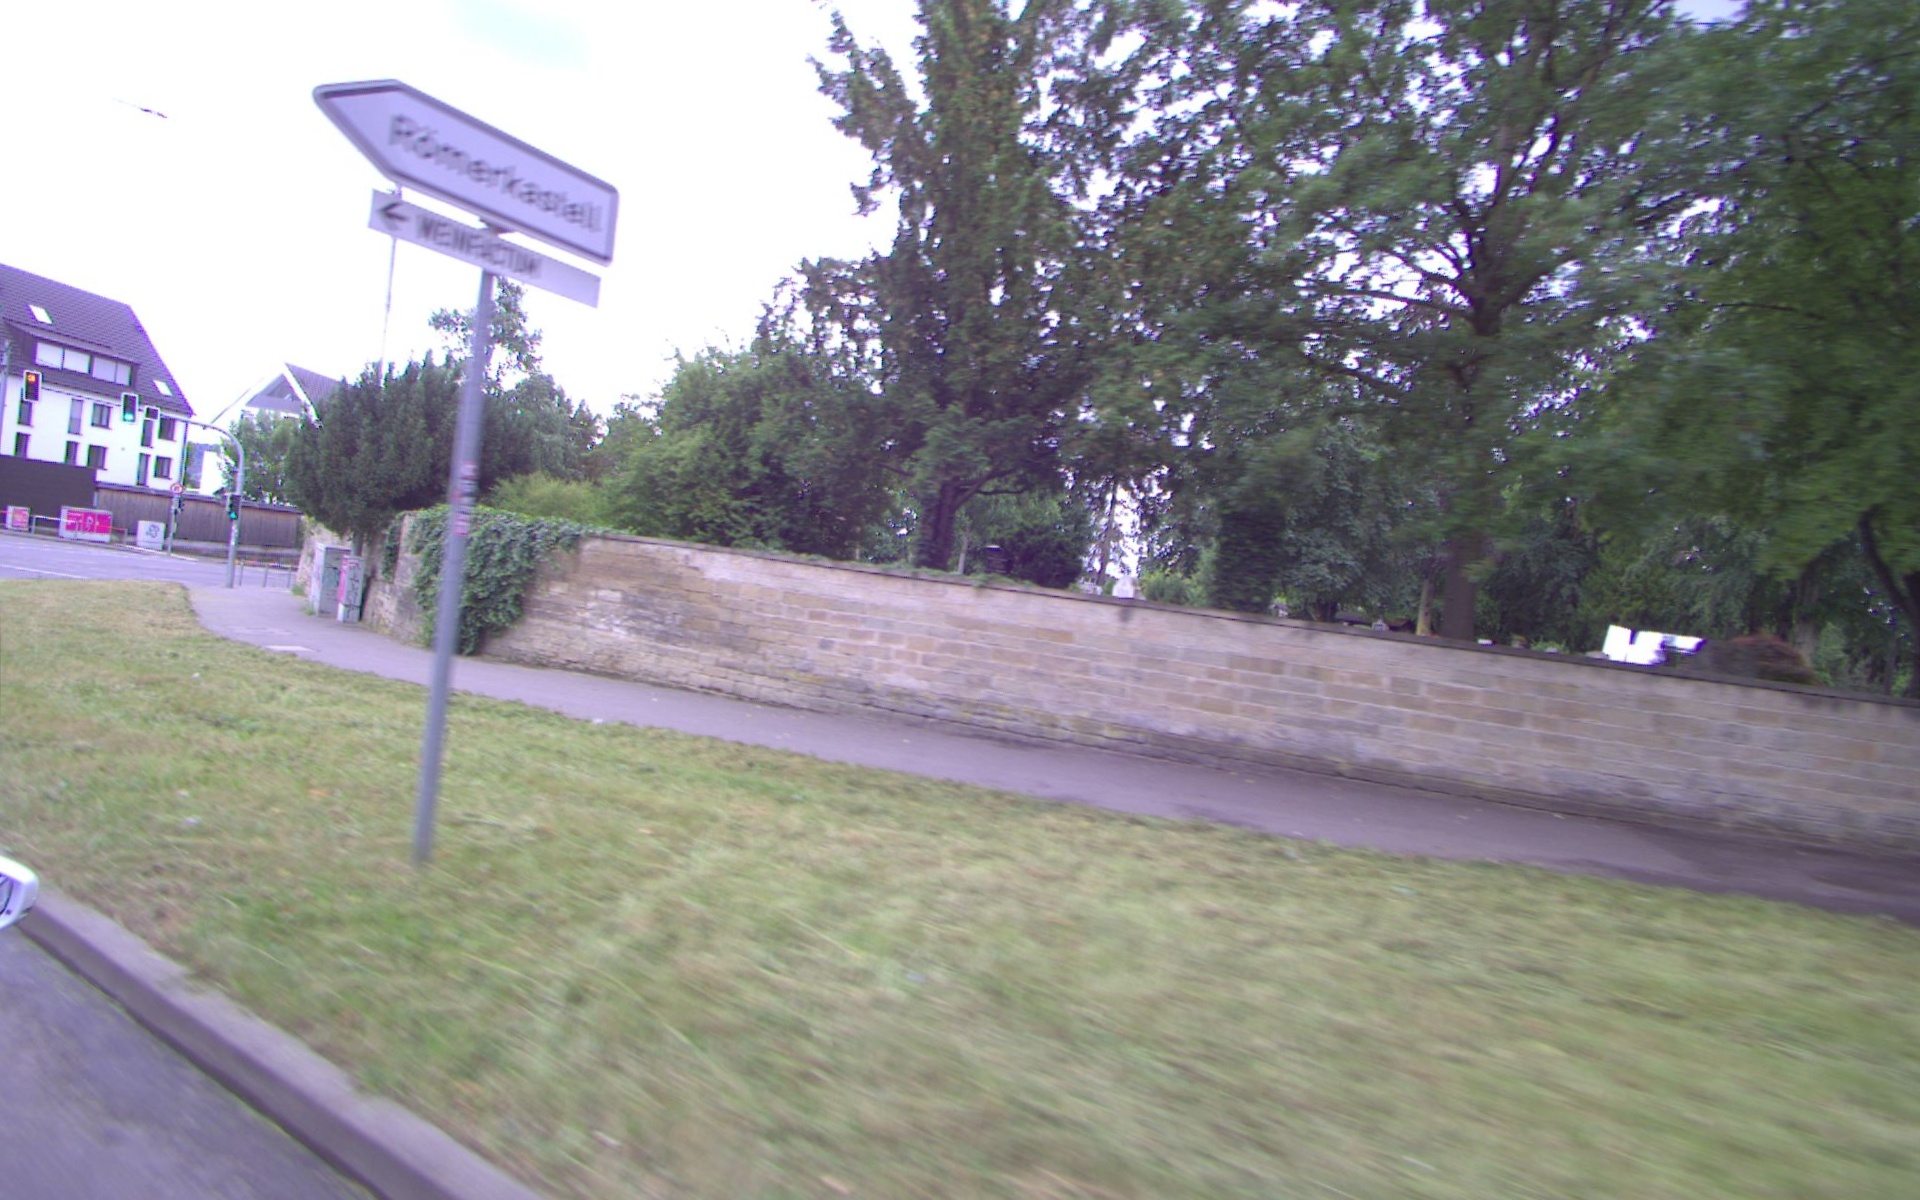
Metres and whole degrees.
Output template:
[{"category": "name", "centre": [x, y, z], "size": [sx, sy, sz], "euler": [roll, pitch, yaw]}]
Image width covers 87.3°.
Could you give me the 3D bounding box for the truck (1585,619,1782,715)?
[{"category": "truck", "centre": [27.446, 2.508, 38.314], "size": [5.686, 2.867, 2.213], "euler": [5, -3, 42]}]
